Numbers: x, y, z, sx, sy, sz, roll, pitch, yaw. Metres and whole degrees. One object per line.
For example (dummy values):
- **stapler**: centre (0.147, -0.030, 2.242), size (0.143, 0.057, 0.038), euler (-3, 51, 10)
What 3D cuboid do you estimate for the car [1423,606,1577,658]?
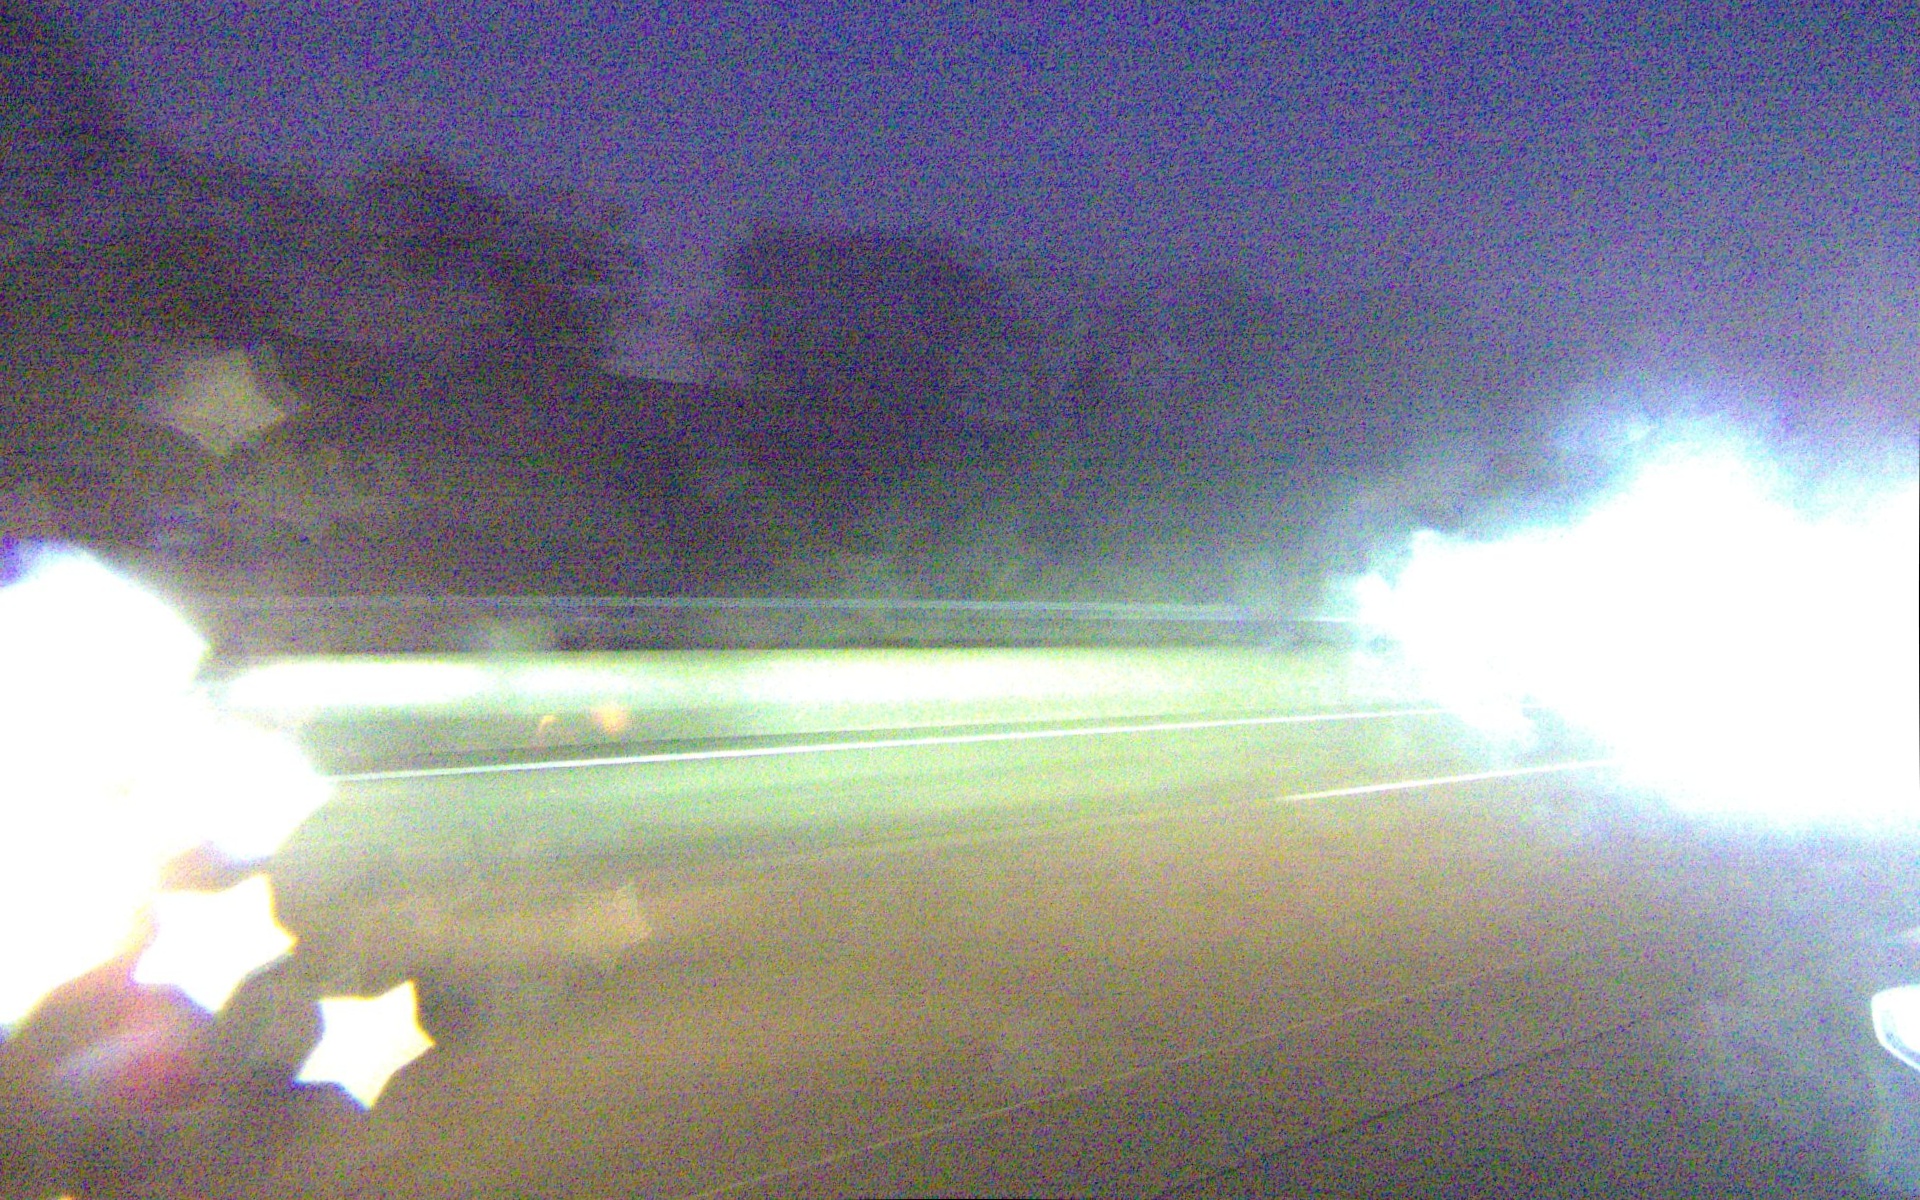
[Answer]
- **car**: centre (17.770, 1.051, 32.958), size (5.308, 1.484, 1.962), euler (1, 2, -31)

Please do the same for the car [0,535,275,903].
- **car**: centre (-6.461, 0.529, 5.007), size (4.829, 1.801, 1.984), euler (1, 1, -30)

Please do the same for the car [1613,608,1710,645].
- **car**: centre (31.741, 1.200, 45.460), size (4.246, 1.484, 1.871), euler (1, 2, -29)

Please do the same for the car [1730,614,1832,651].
- **car**: centre (36.958, 1.446, 45.182), size (4.841, 1.484, 1.962), euler (1, 2, -31)

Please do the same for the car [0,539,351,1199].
- **car**: centre (-4.009, 0.624, 2.499), size (4.184, 1.616, 1.906), euler (1, 0, -31)
